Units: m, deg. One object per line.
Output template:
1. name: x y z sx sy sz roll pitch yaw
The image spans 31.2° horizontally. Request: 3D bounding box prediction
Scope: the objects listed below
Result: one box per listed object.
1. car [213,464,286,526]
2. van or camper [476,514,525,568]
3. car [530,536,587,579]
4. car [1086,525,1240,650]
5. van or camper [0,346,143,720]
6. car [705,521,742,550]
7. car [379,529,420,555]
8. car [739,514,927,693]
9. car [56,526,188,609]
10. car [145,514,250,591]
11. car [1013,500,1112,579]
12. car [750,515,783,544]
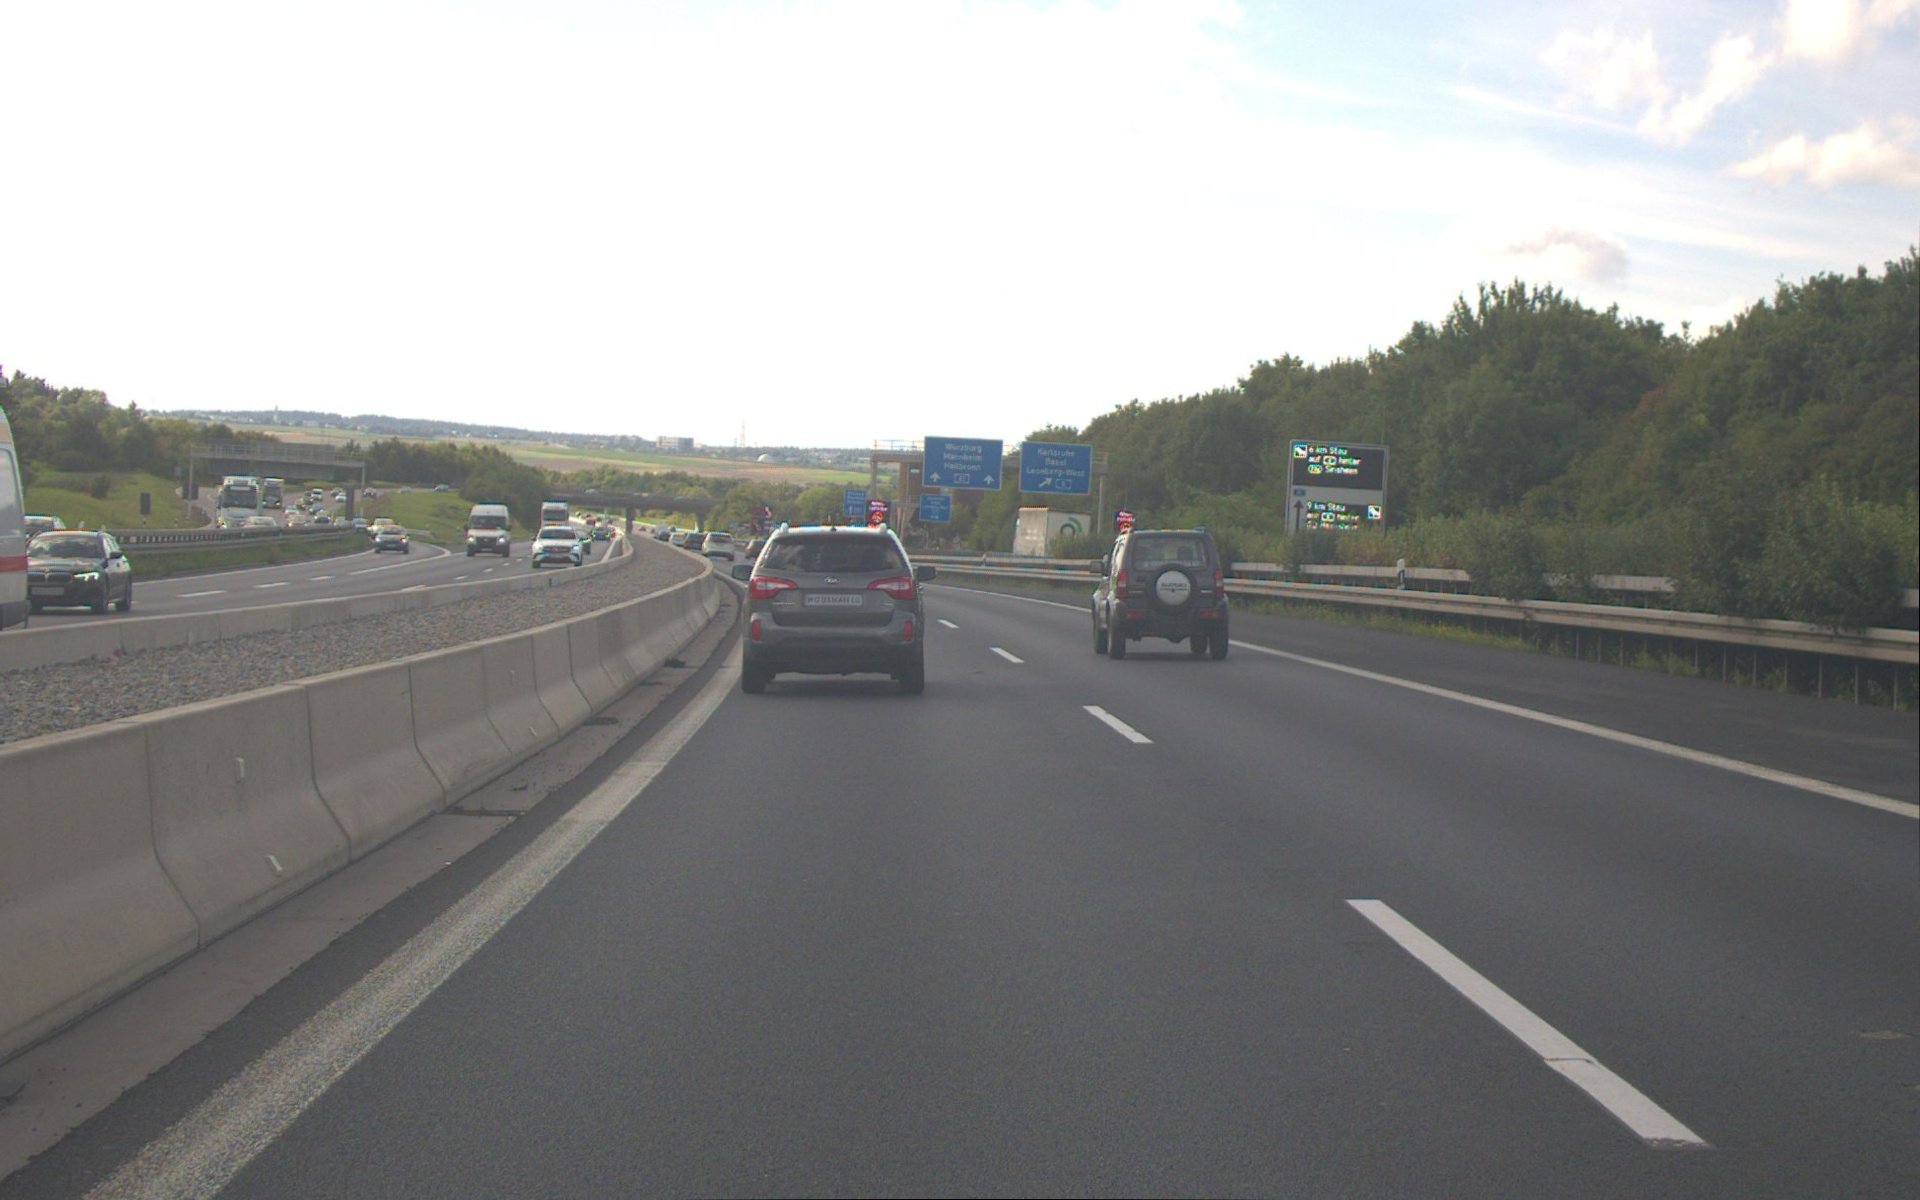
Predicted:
1. car: -49.136 -7.186 238.051 3.816 4.066 14.833 1 1 -8
2. van or camper: -23.116 -2.983 173.134 1.986 2.615 6.864 1 1 -4
3. car: -15.724 -1.678 134.884 1.842 1.605 5.136 1 1 -3
4. car: 2.724 -0.198 46.831 1.587 1.591 4.096 1 1 -3
5. van or camper: -9.152 -0.583 27.734 3.335 2.906 7.466 2 1 -1
6. car: -14.583 -3.966 211.945 1.993 1.678 4.001 1 -1 -7
7. car: -29.047 -3.001 178.340 1.626 1.289 4.756 1 1 -4
8. car: -1.370 0.023 36.474 1.817 1.730 5.187 1 0 -3
9. car: -15.298 -0.623 62.949 1.784 1.412 4.998 1 1 -8
10. car: -17.487 -1.109 79.025 1.725 1.694 4.153 1 1 -4
11. car: 6.030 -3.542 204.967 4.728 4.251 11.405 1 -1 -4
12. car: -13.935 -5.051 246.840 1.993 1.922 4.001 1 -1 -8
